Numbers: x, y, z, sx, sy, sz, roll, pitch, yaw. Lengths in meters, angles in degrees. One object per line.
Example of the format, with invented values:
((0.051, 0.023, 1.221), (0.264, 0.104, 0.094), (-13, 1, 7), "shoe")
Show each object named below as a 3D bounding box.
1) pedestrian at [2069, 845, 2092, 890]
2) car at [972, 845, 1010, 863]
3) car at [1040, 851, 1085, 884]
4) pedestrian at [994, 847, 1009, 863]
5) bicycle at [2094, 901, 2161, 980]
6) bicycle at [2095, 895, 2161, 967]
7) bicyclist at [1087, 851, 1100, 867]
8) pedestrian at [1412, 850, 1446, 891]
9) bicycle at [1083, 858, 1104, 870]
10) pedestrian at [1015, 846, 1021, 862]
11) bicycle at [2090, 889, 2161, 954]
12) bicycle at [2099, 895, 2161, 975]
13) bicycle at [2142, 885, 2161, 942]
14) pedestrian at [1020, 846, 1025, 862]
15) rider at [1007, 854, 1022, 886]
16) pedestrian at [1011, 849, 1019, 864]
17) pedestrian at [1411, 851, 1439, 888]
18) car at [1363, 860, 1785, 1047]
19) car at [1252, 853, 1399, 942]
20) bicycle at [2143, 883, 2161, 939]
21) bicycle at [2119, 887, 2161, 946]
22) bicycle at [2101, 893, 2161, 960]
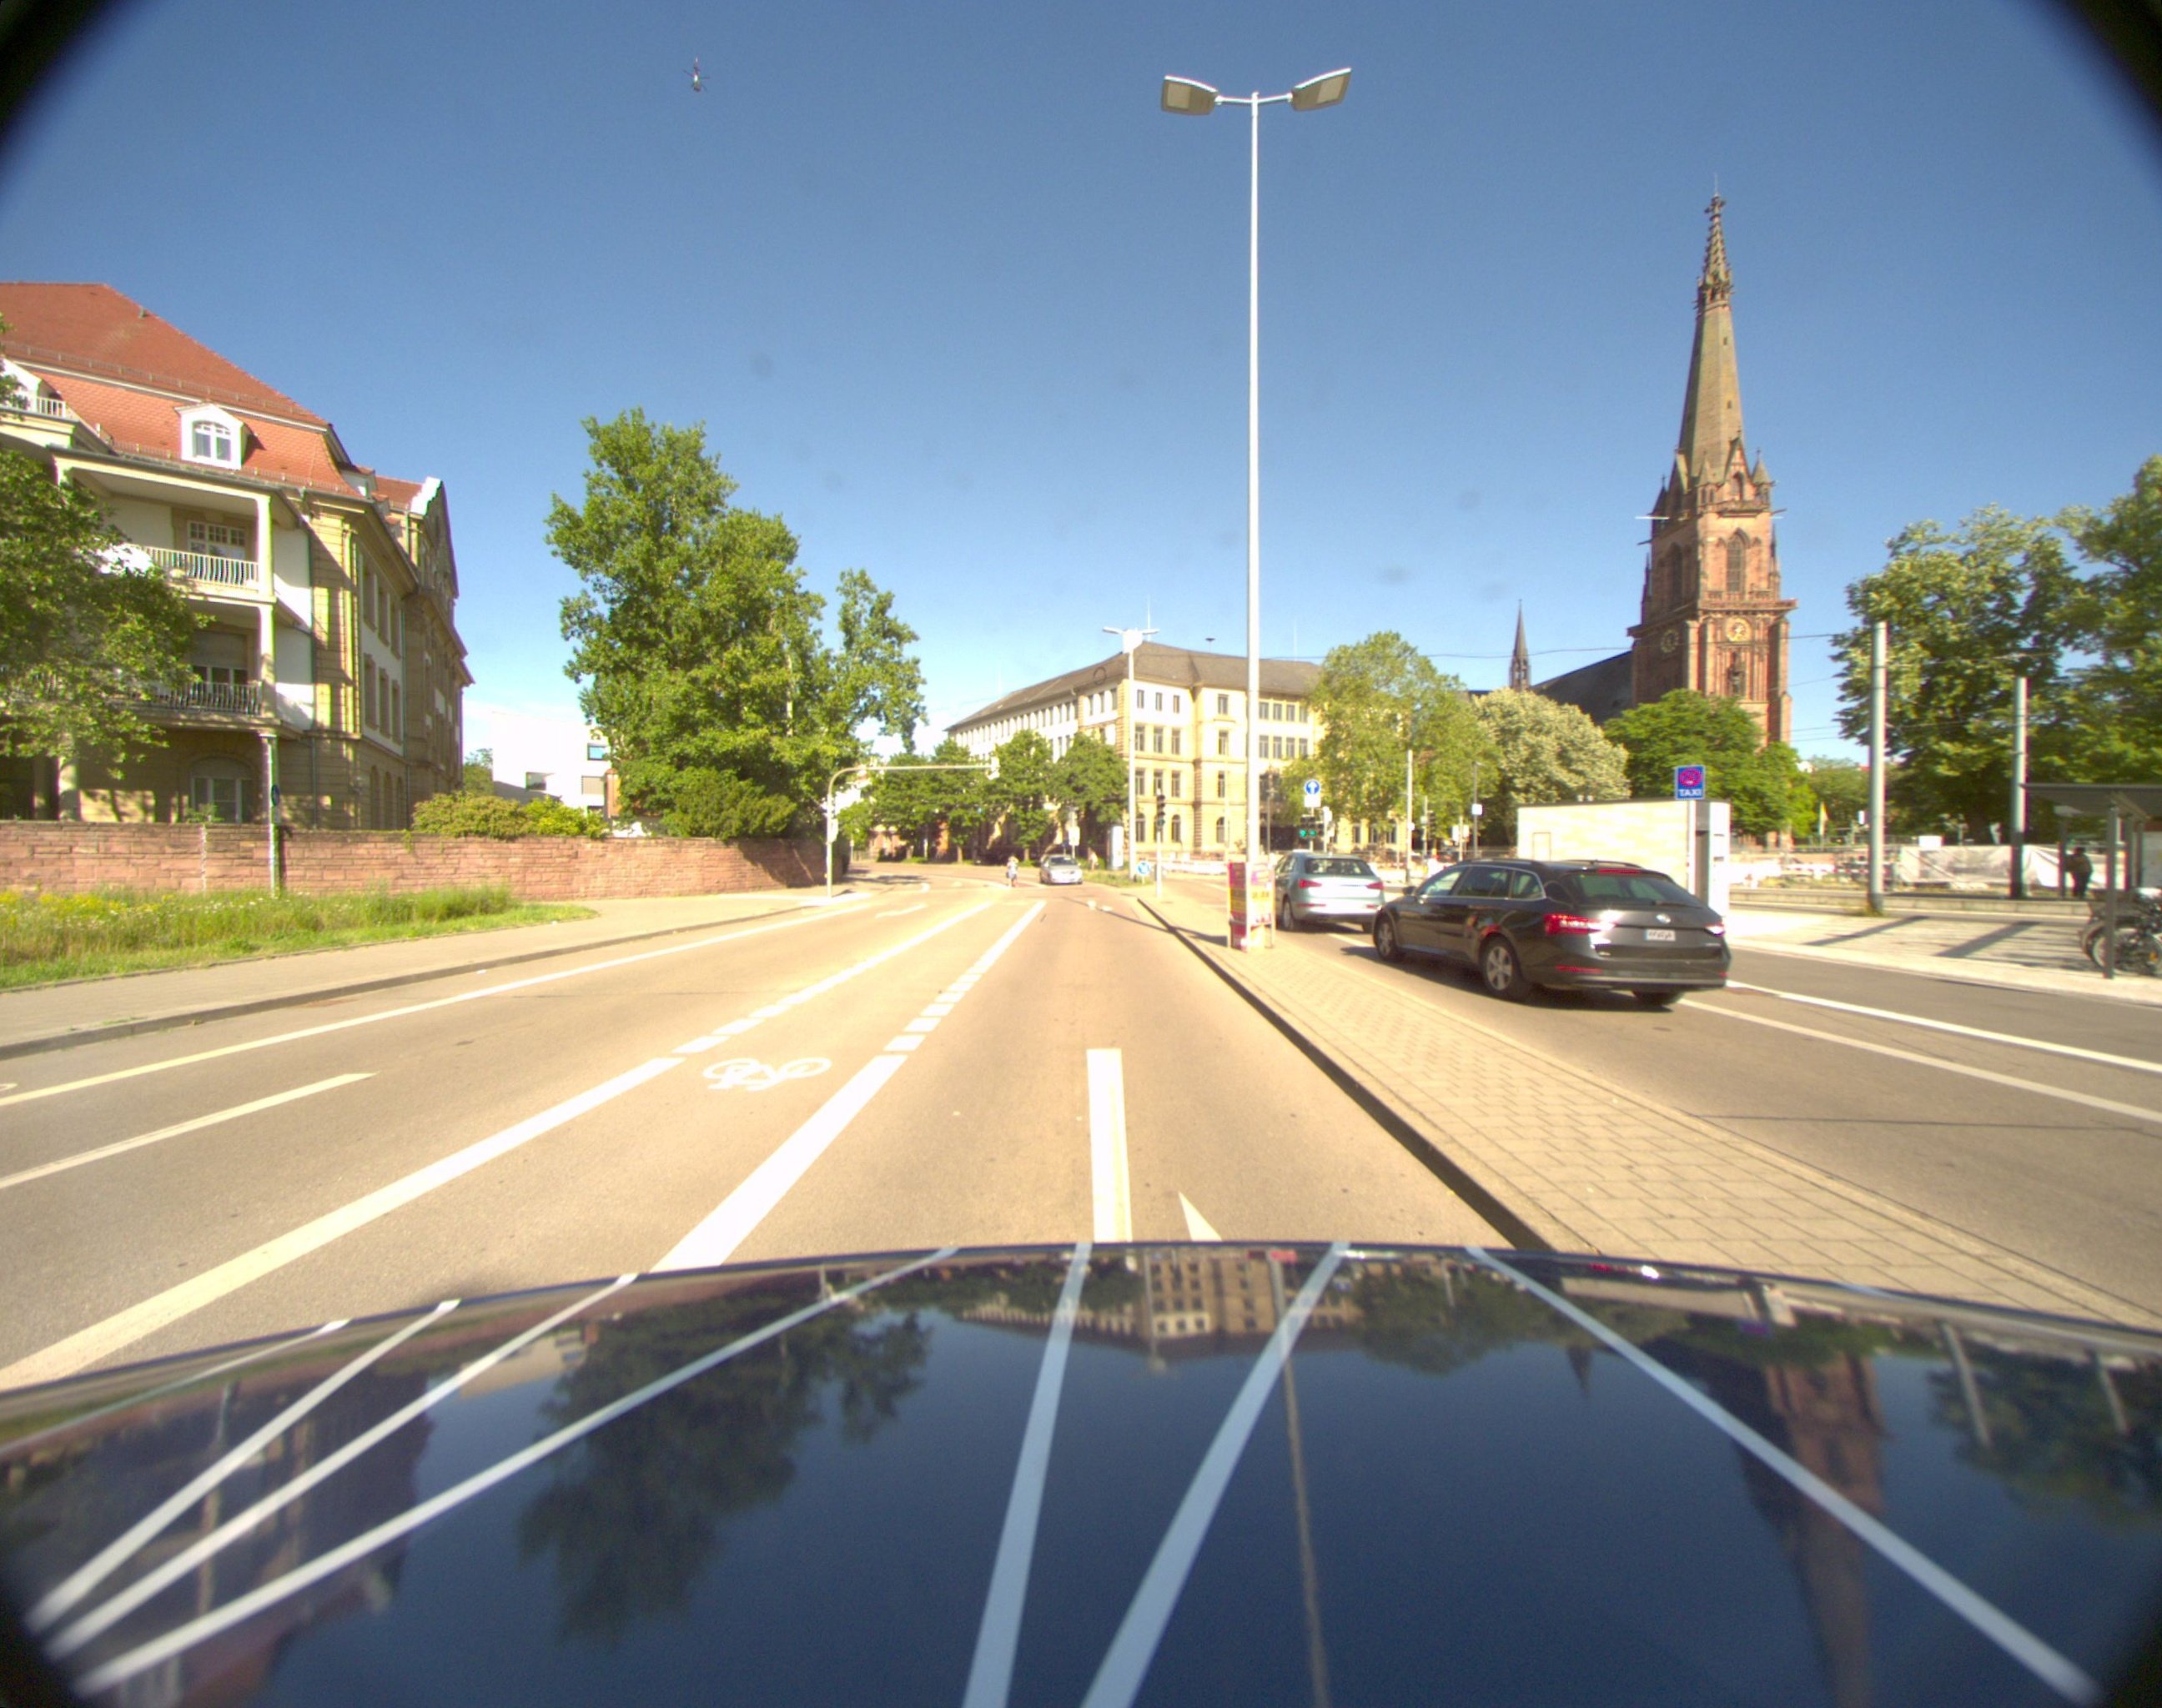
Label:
((37.574, 0.500, 28.578), (0.404, 1.711, 0.419), (1, 1, 38), "pedestrian")
((-10.726, -0.036, 90.759), (1.994, 2.002, 4.721), (0, 1, 32), "car")
((-1.046, 0.664, 41.085), (1.707, 1.657, 3.910), (-1, 1, -12), "car")
((-9.142, 0.132, 87.373), (0.934, 1.812, 1.394), (1, 1, 45), "pedestrian")
((14.703, 1.171, 9.964), (0.458, 1.003, 1.667), (-1, 1, -33), "bicycle")
((16.077, 1.143, 10.976), (0.458, 1.003, 1.667), (-1, 1, -33), "bicycle")
((1.104, 0.425, 67.655), (0.893, 1.377, 0.735), (1, 1, 44), "bicyclist")
((15.434, 0.732, 33.713), (0.977, 1.769, 1.131), (0, 1, -1), "pedestrian")
((1.083, 0.894, 67.683), (1.830, 0.985, 0.735), (0, 1, 44), "bicycle")
((-7.450, 0.011, 89.630), (0.522, 1.882, 0.360), (-1, 1, -33), "pedestrian")
((17.917, 1.127, 12.427), (0.458, 1.003, 1.667), (-1, 1, -33), "bicycle")
((15.204, 1.129, 10.279), (0.458, 1.055, 1.667), (-1, 1, -33), "bicycle")
((19.898, 1.075, 13.199), (0.458, 1.003, 1.667), (-1, 1, -33), "bicycle")
((-6.899, 0.011, 90.033), (0.522, 1.865, 0.360), (-1, 1, -33), "pedestrian")
((-3.488, 0.815, 39.713), (0.658, 1.610, 0.989), (-1, 1, 1), "rider")
((-7.777, 0.281, 89.517), (0.677, 1.714, 0.588), (-1, 3, -22), "pedestrian")
((16.823, 0.733, 37.168), (0.977, 1.769, 0.803), (0, 1, -1), "pedestrian")
((5.064, 0.873, 8.778), (1.793, 1.490, 4.574), (1, 1, -1), "car")
((4.879, 0.787, 15.790), (1.859, 1.533, 4.241), (1, 1, 3), "car")
((20.491, 1.063, 13.610), (0.458, 1.003, 1.667), (-1, 1, -33), "bicycle")
((19.131, 1.099, 12.948), (0.458, 1.003, 1.667), (-1, 1, -33), "bicycle")
((17.263, 1.148, 11.654), (0.458, 1.003, 1.899), (-1, 1, -33), "bicycle")
